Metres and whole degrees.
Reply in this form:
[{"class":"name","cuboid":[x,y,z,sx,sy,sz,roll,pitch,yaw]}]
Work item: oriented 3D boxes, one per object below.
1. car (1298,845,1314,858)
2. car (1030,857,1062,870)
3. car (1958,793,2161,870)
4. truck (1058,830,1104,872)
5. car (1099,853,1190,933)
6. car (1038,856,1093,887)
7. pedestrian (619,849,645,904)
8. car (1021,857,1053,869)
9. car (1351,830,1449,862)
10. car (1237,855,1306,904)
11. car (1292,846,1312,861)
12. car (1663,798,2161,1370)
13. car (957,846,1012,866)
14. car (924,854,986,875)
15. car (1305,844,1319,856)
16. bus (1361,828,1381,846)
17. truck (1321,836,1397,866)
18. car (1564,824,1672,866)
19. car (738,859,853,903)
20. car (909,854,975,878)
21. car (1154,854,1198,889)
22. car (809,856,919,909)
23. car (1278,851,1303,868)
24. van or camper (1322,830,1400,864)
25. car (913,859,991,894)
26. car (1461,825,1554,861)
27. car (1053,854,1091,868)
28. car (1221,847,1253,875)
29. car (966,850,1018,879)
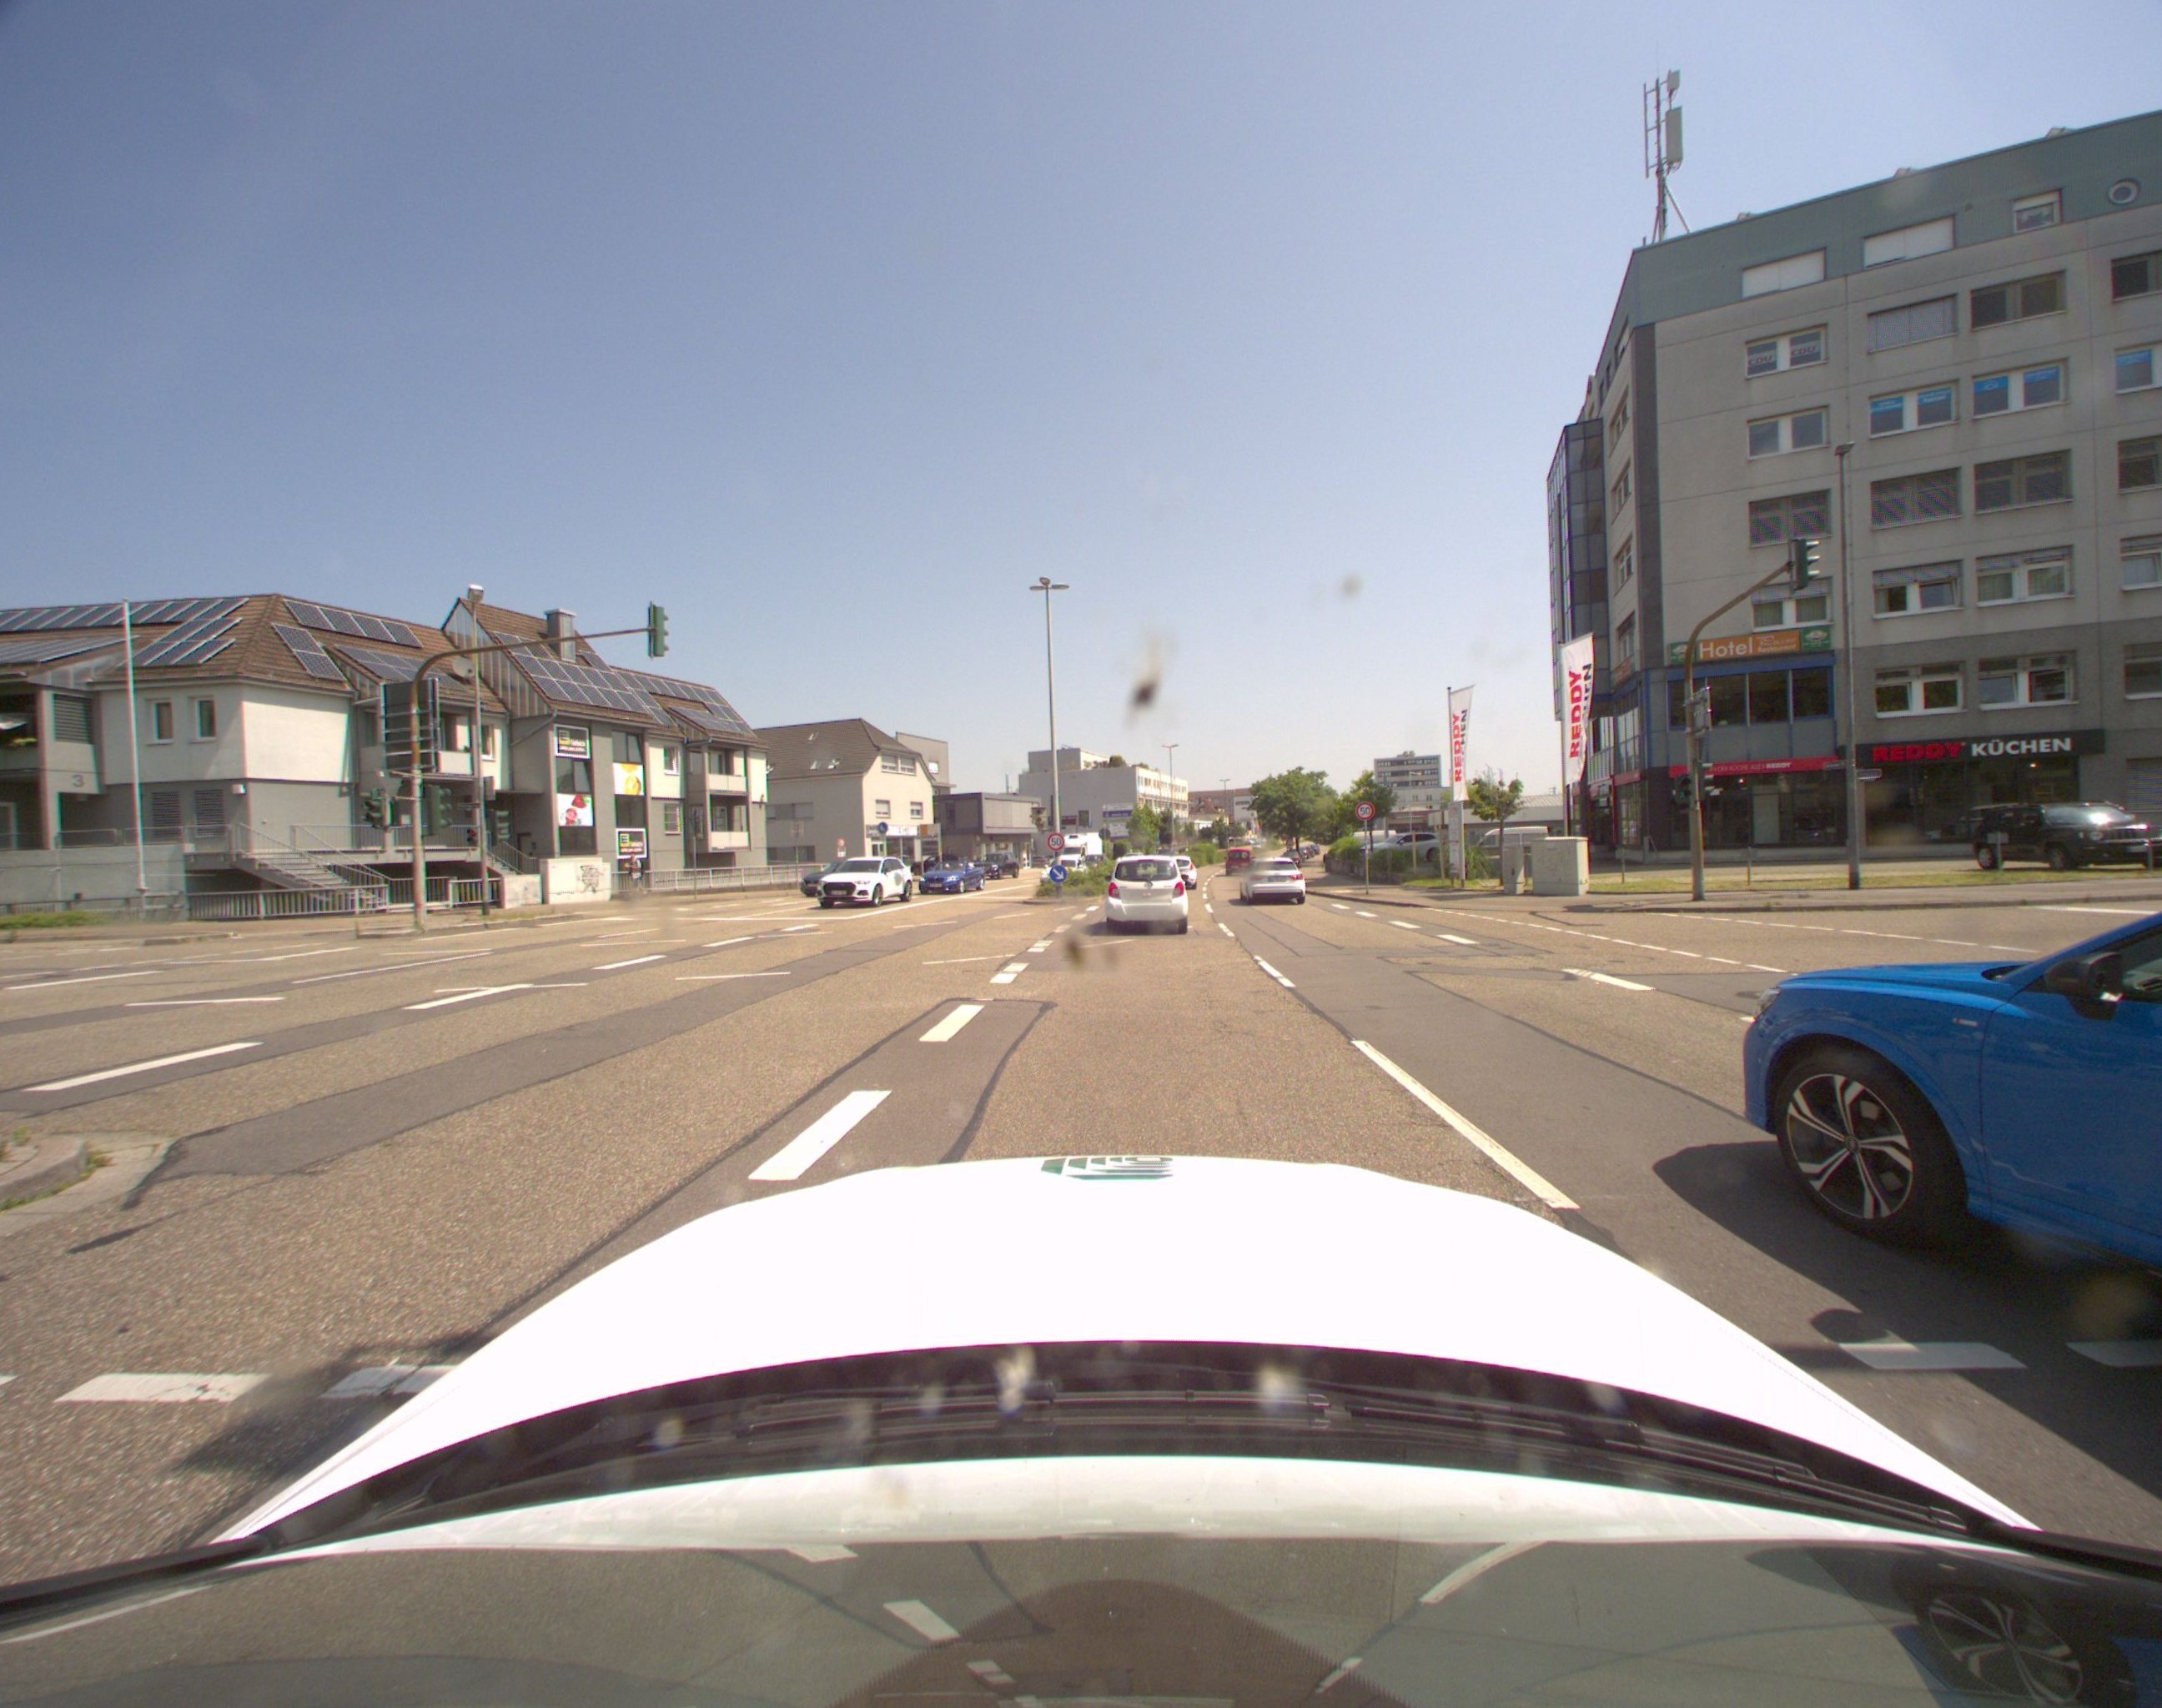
[{"class":"car","cuboid":[28.575,-0.312,103.531,1.840,1.481,5.179,-2,1,16]},{"class":"car","cuboid":[-4.984,1.312,114.950,3.943,1.467,2.082,-4,0,17]},{"class":"car","cuboid":[24.144,-0.502,20.156,1.525,1.675,4.352,-2,0,21]},{"class":"truck","cuboid":[0.070,-0.226,70.736,2.248,3.418,7.065,-1,-1,14]},{"class":"car","cuboid":[1.242,0.760,17.145,1.706,1.511,3.247,0,-1,1]},{"class":"car","cuboid":[-0.704,0.817,40.784,1.851,1.431,4.757,-1,0,10]},{"class":"pedestrian","cuboid":[-16.975,0.844,30.820,0.500,2.013,0.743,0,1,3]},{"class":"car","cuboid":[-5.980,1.177,111.723,3.943,1.467,1.971,-2,0,14]},{"class":"car","cuboid":[17.708,-0.408,45.346,4.719,1.713,1.995,0,-1,-7]},{"class":"car","cuboid":[5.923,0.752,25.670,1.658,1.399,3.800,-1,0,6]},{"class":"car","cuboid":[26.591,-0.111,97.868,1.945,1.530,5.186,-4,0,19]},{"class":"car","cuboid":[3.946,0.620,2.010,1.906,1.597,4.396,-1,0,1]},{"class":"car","cuboid":[-8.101,0.196,68.560,4.025,1.521,2.008,-2,0,16]},{"class":"car","cuboid":[-10.114,0.814,65.446,4.576,1.496,1.758,2,1,11]},{"class":"car","cuboid":[32.414,-0.558,114.378,1.700,1.548,4.812,-3,0,17]},{"class":"bus","cuboid":[55.133,-3.282,154.795,2.780,3.078,12.354,-1,2,23]},{"class":"truck","cuboid":[24.614,-0.263,72.137,6.192,2.336,2.381,-3,1,20]},{"class":"car","cuboid":[37.770,-0.605,57.458,6.064,2.810,2.010,-1,-1,20]},{"class":"car","cuboid":[-10.917,0.987,31.446,1.477,1.449,4.297,-1,1,27]},{"class":"car","cuboid":[-10.544,0.876,61.995,4.569,1.627,1.863,2,1,18]},{"class":"car","cuboid":[4.214,0.755,36.636,1.822,1.450,4.005,-1,0,4]},{"class":"car","cuboid":[-7.006,0.860,26.817,1.806,1.570,4.567,0,0,9]},{"class":"car","cuboid":[17.943,0.465,69.589,1.783,1.406,4.339,0,-1,17]},{"class":"van or camper","cuboid":[26.227,-0.666,76.411,6.741,2.897,2.286,-2,0,18]},{"class":"car","cuboid":[-5.378,0.931,34.551,1.851,1.366,4.360,0,0,11]},{"class":"car","cuboid":[31.411,-0.735,60.199,5.835,2.528,2.131,-1,-1,22]},{"class":"car","cuboid":[-0.986,0.806,91.814,3.958,1.459,1.581,-2,-1,14]},{"class":"car","cuboid":[10.320,0.453,54.125,1.786,1.729,3.979,-1,0,6]},{"class":"car","cuboid":[-5.462,0.619,50.698,1.982,1.656,4.606,-2,0,9]}]
